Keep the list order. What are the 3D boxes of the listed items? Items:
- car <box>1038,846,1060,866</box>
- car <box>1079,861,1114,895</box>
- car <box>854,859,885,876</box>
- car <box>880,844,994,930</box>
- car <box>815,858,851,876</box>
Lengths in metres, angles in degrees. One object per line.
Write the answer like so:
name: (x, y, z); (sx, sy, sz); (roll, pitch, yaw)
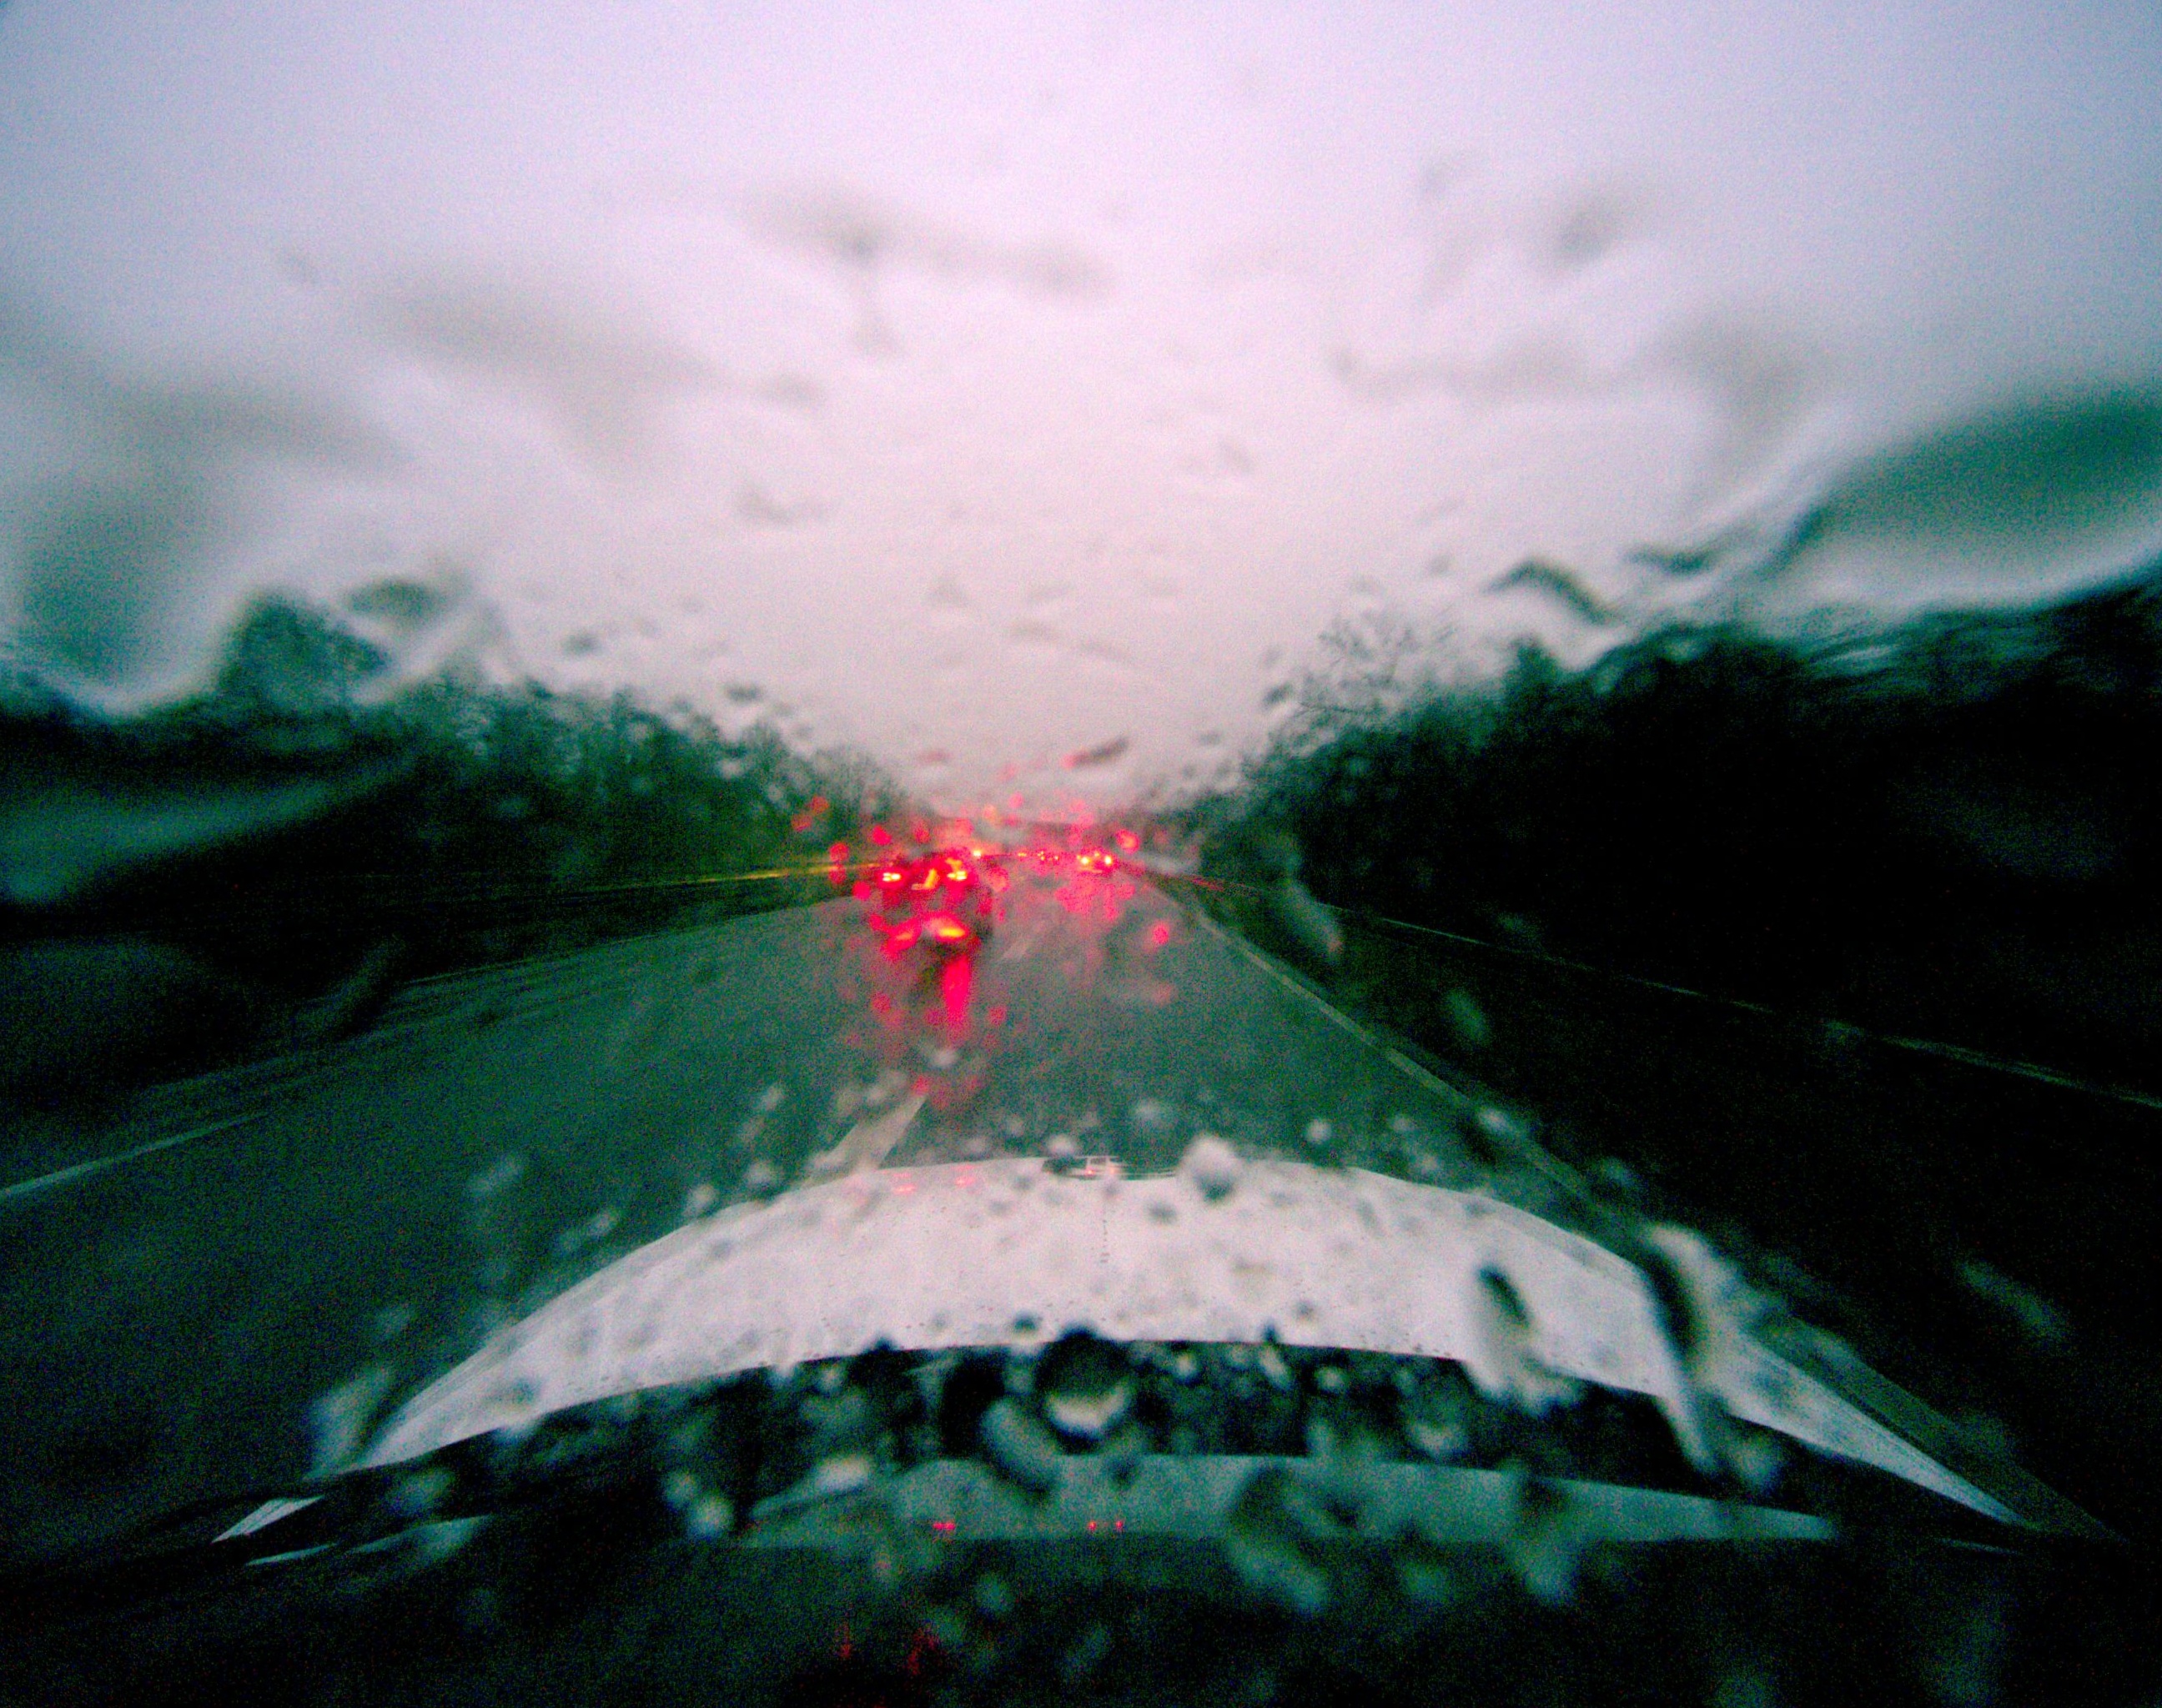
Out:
car: (-2.846, 0.160, 73.444); (1.873, 1.617, 3.873); (1, 2, -1)
car: (0.855, 1.248, 43.437); (1.725, 1.428, 3.769); (0, 5, 2)
car: (-17.449, 1.120, 67.243); (1.569, 1.376, 3.841); (1, -2, -1)
car: (-3.059, 0.640, 18.134); (1.989, 1.665, 3.996); (-1, 0, -3)
car: (-20.825, 1.121, 68.504); (1.569, 1.376, 4.781); (1, -2, -1)
